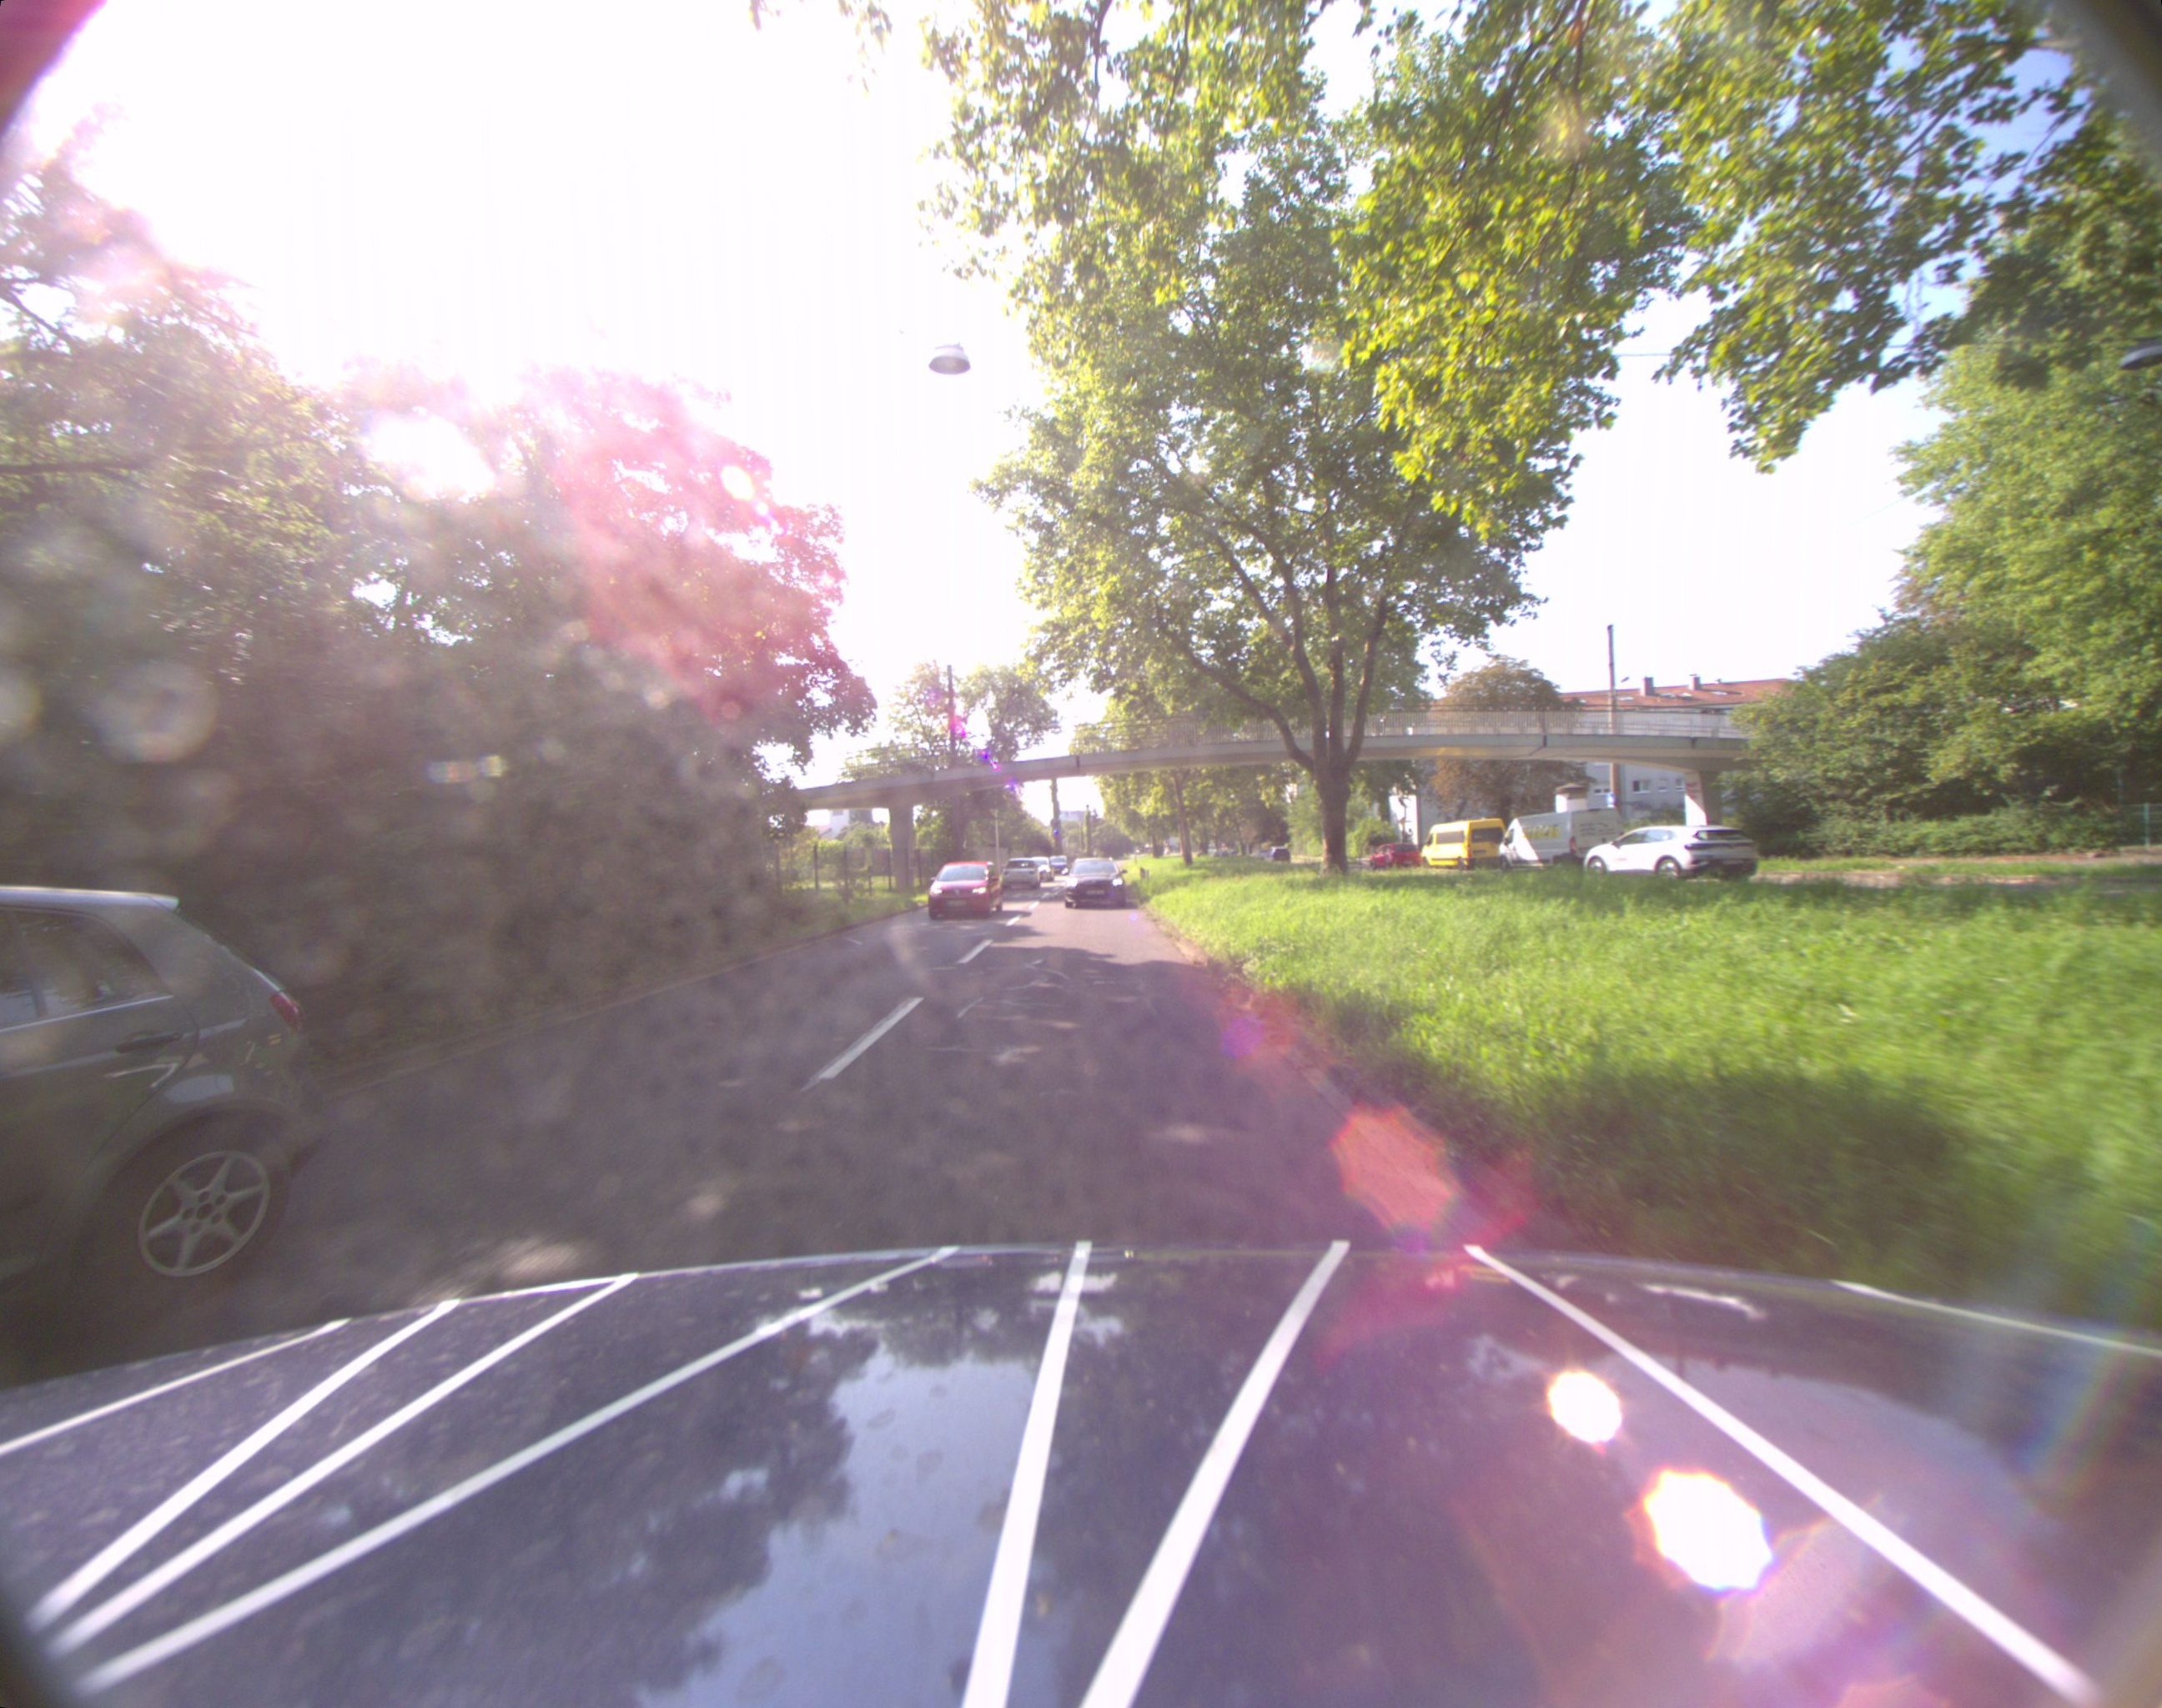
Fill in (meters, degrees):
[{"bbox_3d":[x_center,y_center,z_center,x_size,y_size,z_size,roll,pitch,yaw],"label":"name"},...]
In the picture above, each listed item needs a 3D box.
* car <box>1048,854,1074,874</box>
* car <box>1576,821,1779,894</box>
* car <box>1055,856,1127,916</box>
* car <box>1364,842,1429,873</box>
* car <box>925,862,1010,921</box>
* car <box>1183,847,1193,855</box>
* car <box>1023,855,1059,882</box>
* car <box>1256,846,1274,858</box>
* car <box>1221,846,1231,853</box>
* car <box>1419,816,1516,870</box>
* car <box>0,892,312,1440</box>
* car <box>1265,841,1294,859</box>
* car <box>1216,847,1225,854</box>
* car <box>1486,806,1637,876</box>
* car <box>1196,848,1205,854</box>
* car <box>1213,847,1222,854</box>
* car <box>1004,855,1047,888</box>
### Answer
[{"bbox_3d":[-1.596,0.790,61.297,1.649,1.378,3.899,-3,1,4],"label":"car"},{"bbox_3d":[15.985,0.090,20.753,1.806,1.709,4.719,-2,0,0],"label":"car"},{"bbox_3d":[0.374,0.877,22.418,1.862,1.572,3.613,-2,0,4],"label":"car"},{"bbox_3d":[16.979,0.181,41.118,1.695,1.524,4.069,-3,0,-1],"label":"car"},{"bbox_3d":[-3.064,0.972,21.128,1.578,1.390,3.472,-1,1,4],"label":"car"},{"bbox_3d":[24.650,-0.753,175.055,1.779,1.607,4.857,-3,1,4],"label":"car"},{"bbox_3d":[-2.438,0.851,47.173,1.649,1.467,3.899,-3,1,4],"label":"car"},{"bbox_3d":[24.085,-0.316,99.676,1.649,1.471,3.899,-3,1,4],"label":"car"},{"bbox_3d":[28.267,-0.814,148.569,1.612,1.284,3.524,-3,1,6],"label":"car"},{"bbox_3d":[19.921,-0.552,39.582,2.213,2.465,6.061,-3,1,4],"label":"car"},{"bbox_3d":[-4.021,0.991,1.146,1.649,1.547,3.898,-3,1,0],"label":"car"},{"bbox_3d":[18.887,-0.409,72.514,1.791,1.524,4.456,-3,1,3],"label":"car"},{"bbox_3d":[29.310,-0.706,159.906,1.612,1.284,3.524,-3,1,6],"label":"car"},{"bbox_3d":[19.523,-0.502,31.386,2.213,2.416,6.265,-5,0,1],"label":"car"},{"bbox_3d":[27.263,-0.745,173.798,1.649,1.356,3.900,-3,0,3],"label":"car"},{"bbox_3d":[29.531,-0.796,164.932,1.612,1.398,3.524,-2,0,6],"label":"car"},{"bbox_3d":[-2.735,0.853,38.362,1.649,1.467,3.899,-3,1,3],"label":"car"}]
